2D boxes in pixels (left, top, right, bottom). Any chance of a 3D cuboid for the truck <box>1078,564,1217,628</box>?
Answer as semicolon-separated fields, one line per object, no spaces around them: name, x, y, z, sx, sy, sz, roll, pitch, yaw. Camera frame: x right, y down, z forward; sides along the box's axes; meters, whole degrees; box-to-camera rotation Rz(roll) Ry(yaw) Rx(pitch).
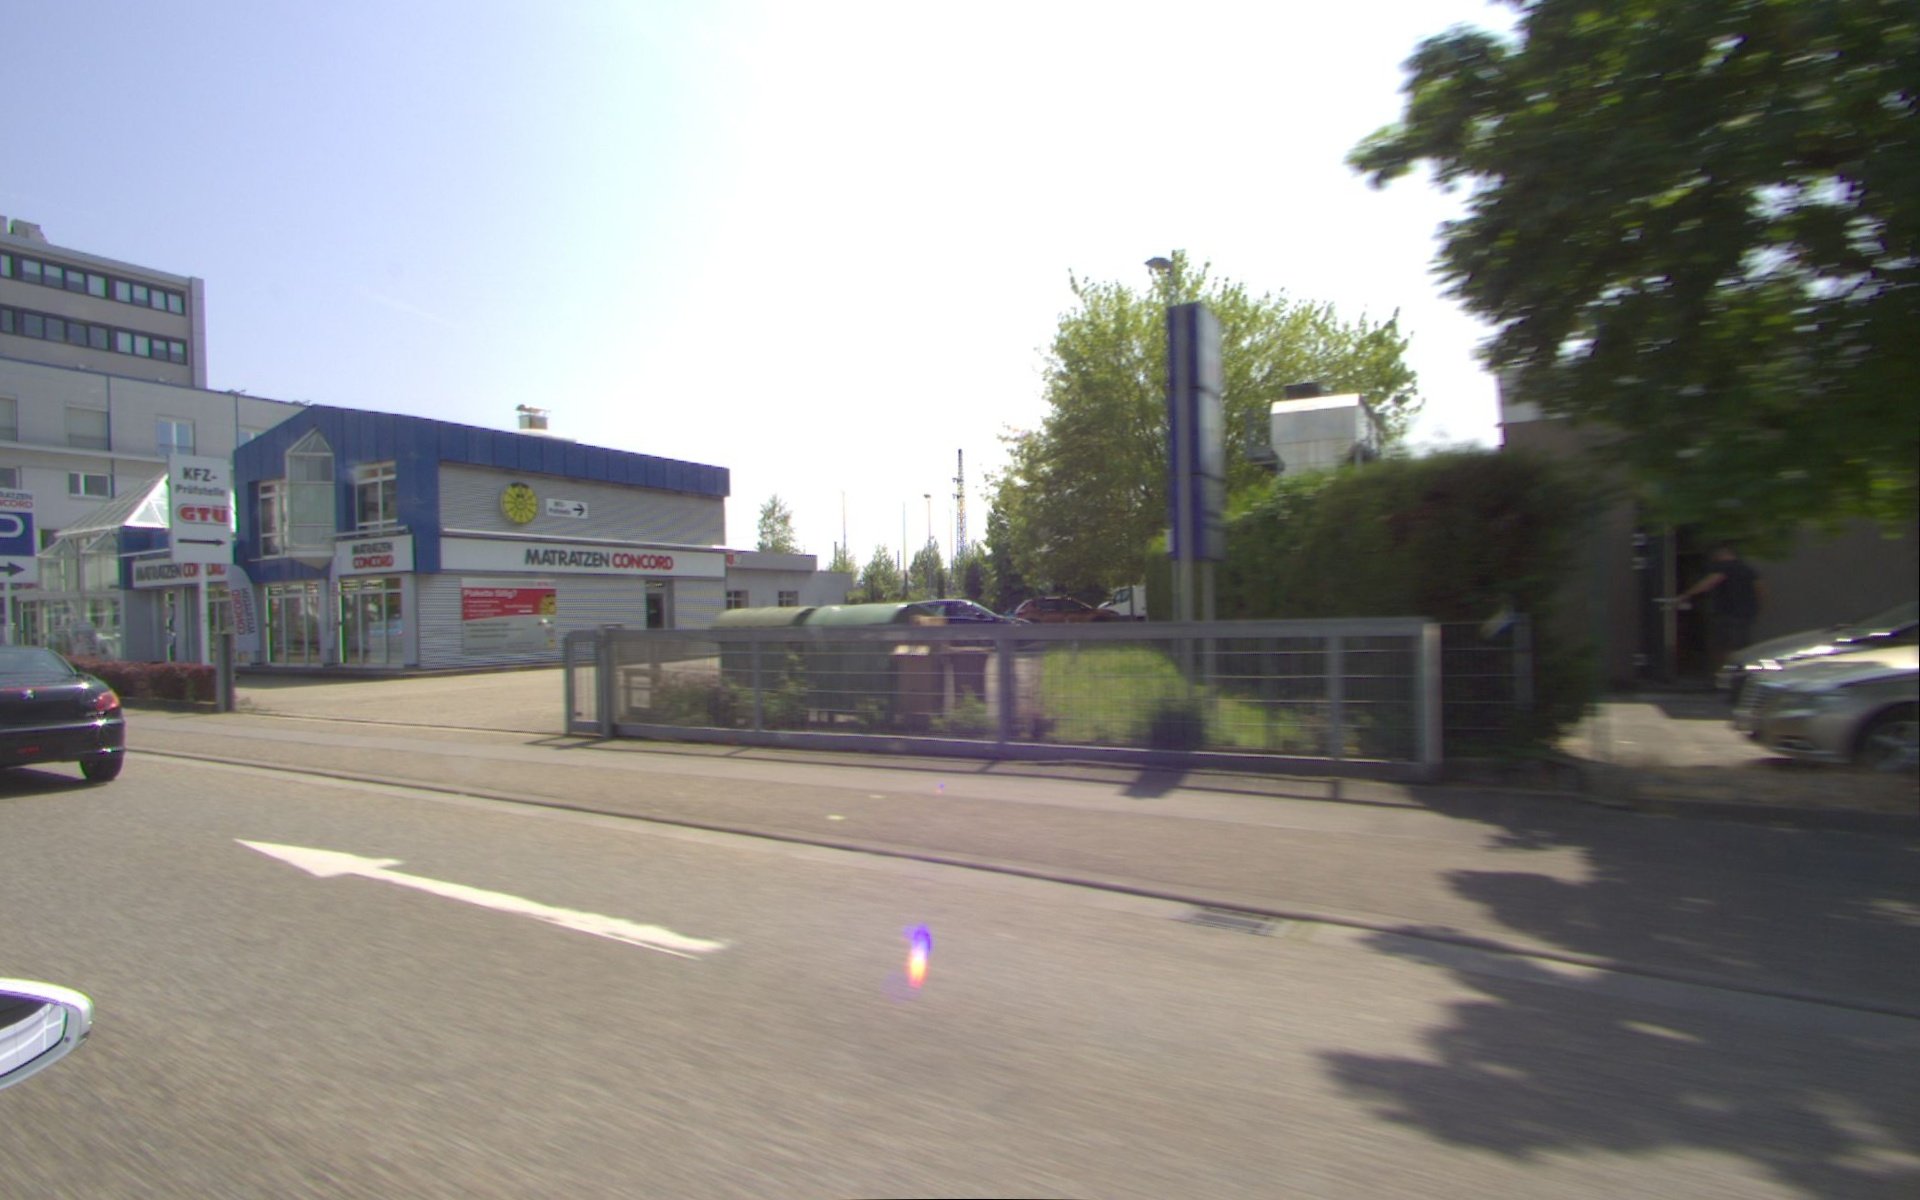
truck;9.397;-0.140;50.443;6.531;3.047;2.202;-1;0;30

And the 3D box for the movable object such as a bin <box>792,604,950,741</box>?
movable object such as a bin;-1.042;0.808;11.818;1.467;1.489;1.129;-1;0;31

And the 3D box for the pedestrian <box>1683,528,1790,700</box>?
pedestrian;9.608;0.180;12.404;0.693;2.039;0.817;1;-1;-27

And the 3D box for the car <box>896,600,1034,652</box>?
car;0.176;0.773;30.104;3.925;1.491;1.515;-1;0;12

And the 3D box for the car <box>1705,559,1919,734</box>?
car;9.806;0.379;9.470;4.187;1.557;1.898;-1;2;29

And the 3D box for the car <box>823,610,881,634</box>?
car;-7.344;1.509;68.436;1.971;1.550;3.980;-1;0;31

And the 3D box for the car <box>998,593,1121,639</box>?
car;3.741;0.594;37.572;4.452;1.644;1.999;-1;0;7

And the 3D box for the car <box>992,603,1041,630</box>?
car;3.560;1.012;62.636;1.591;1.543;3.627;-3;-1;29

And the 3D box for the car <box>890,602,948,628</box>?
car;-2.691;0.969;65.925;1.971;1.629;3.980;-1;0;31

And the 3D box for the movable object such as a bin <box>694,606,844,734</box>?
movable object such as a bin;-2.399;0.840;12.652;1.467;1.489;1.129;-1;0;31

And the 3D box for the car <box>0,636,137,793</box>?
car;-9.993;1.070;10.083;3.554;1.381;1.624;-1;-1;32

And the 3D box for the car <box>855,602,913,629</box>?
car;-5.054;1.042;67.363;1.971;1.706;3.980;-1;0;31

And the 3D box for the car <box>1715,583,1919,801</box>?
car;8.422;0.621;7.182;4.567;1.486;1.790;-1;2;29
